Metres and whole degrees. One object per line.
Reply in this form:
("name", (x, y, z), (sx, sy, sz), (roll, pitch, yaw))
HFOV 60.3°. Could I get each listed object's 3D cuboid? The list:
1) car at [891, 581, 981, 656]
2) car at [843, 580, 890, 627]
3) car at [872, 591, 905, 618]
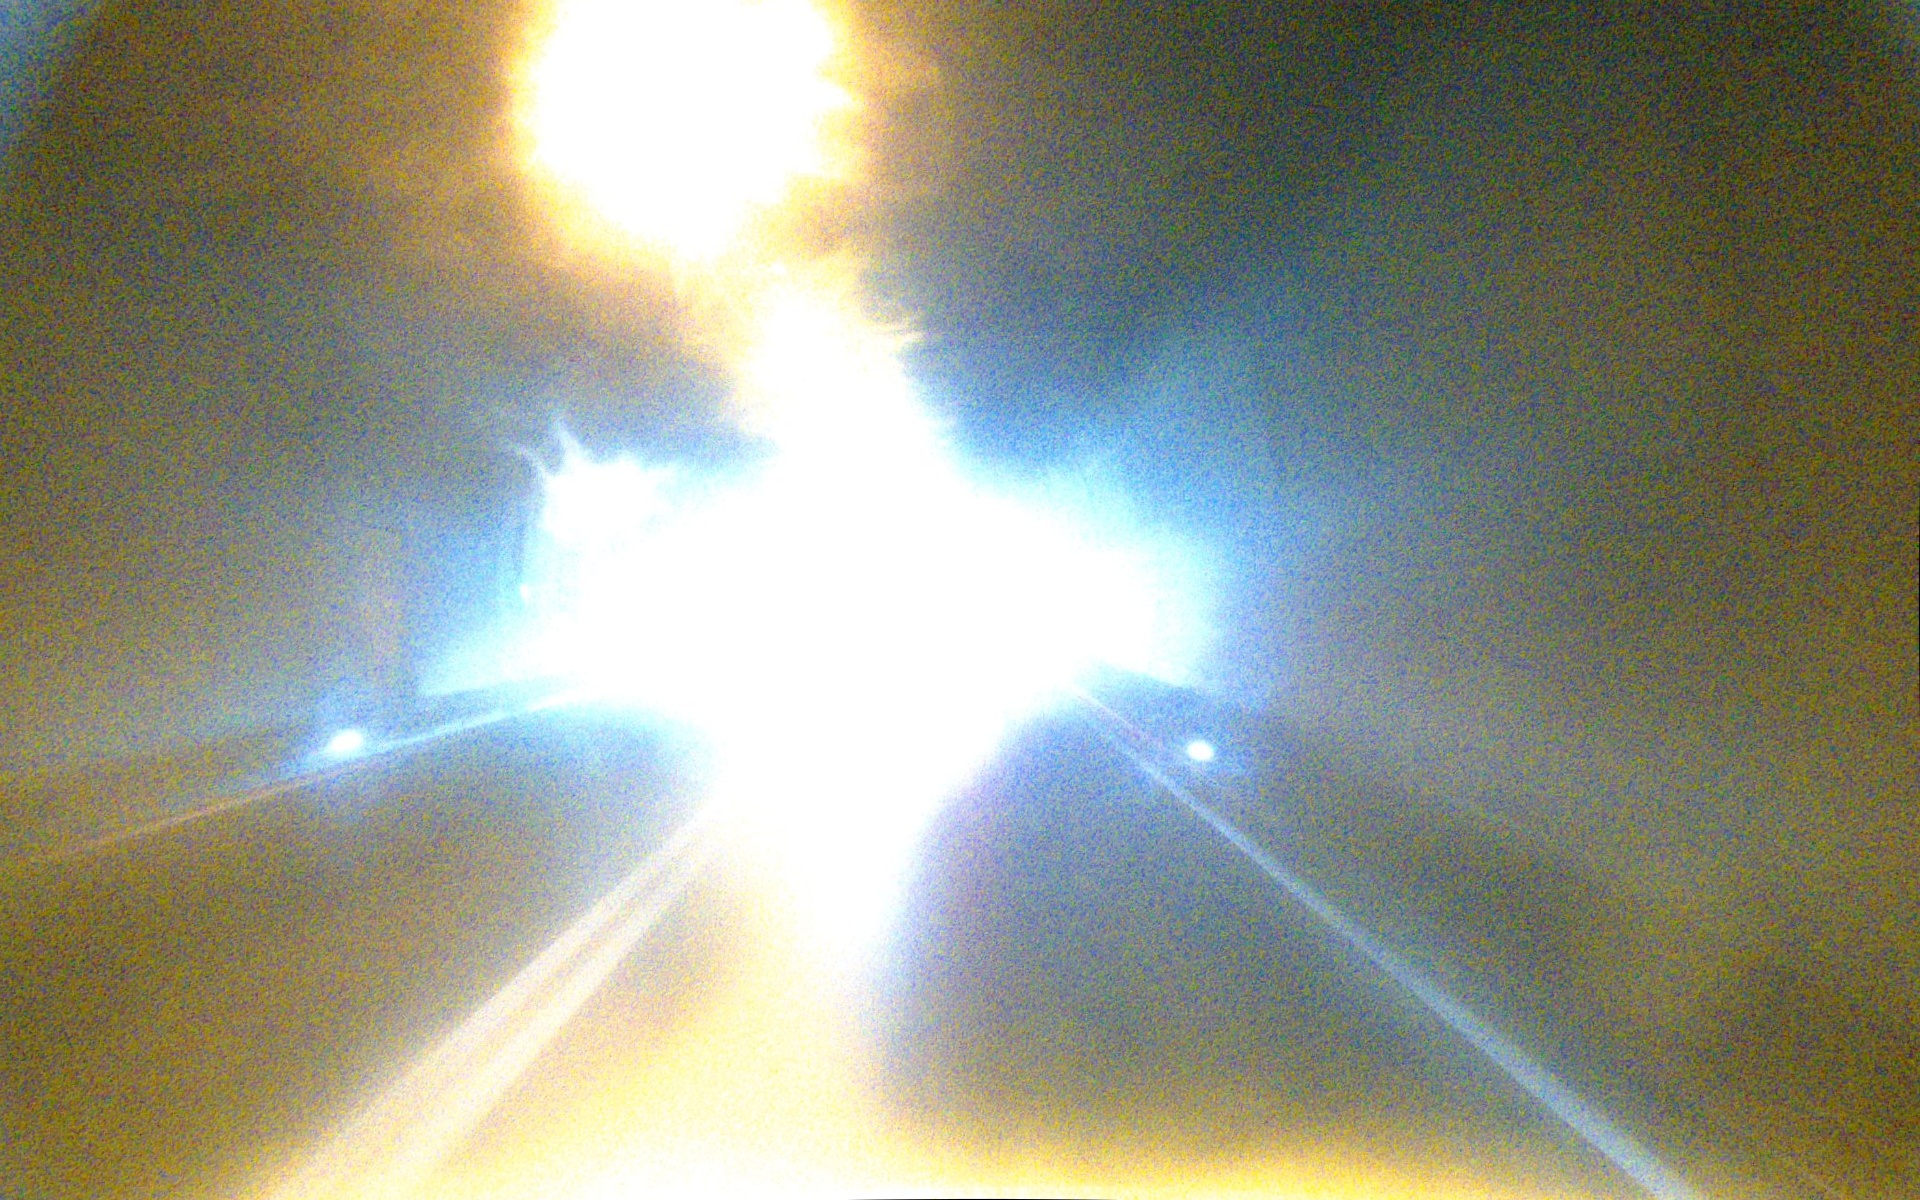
("car", (-0.575, 0.421, 39.733), (2.047, 1.691, 3.999), (0, 0, -1))
("car", (-4.257, 0.145, 75.475), (1.953, 2.049, 3.999), (0, 0, -1))
("car", (-4.548, 0.294, 105.636), (1.953, 1.680, 3.999), (0, 0, -1))
